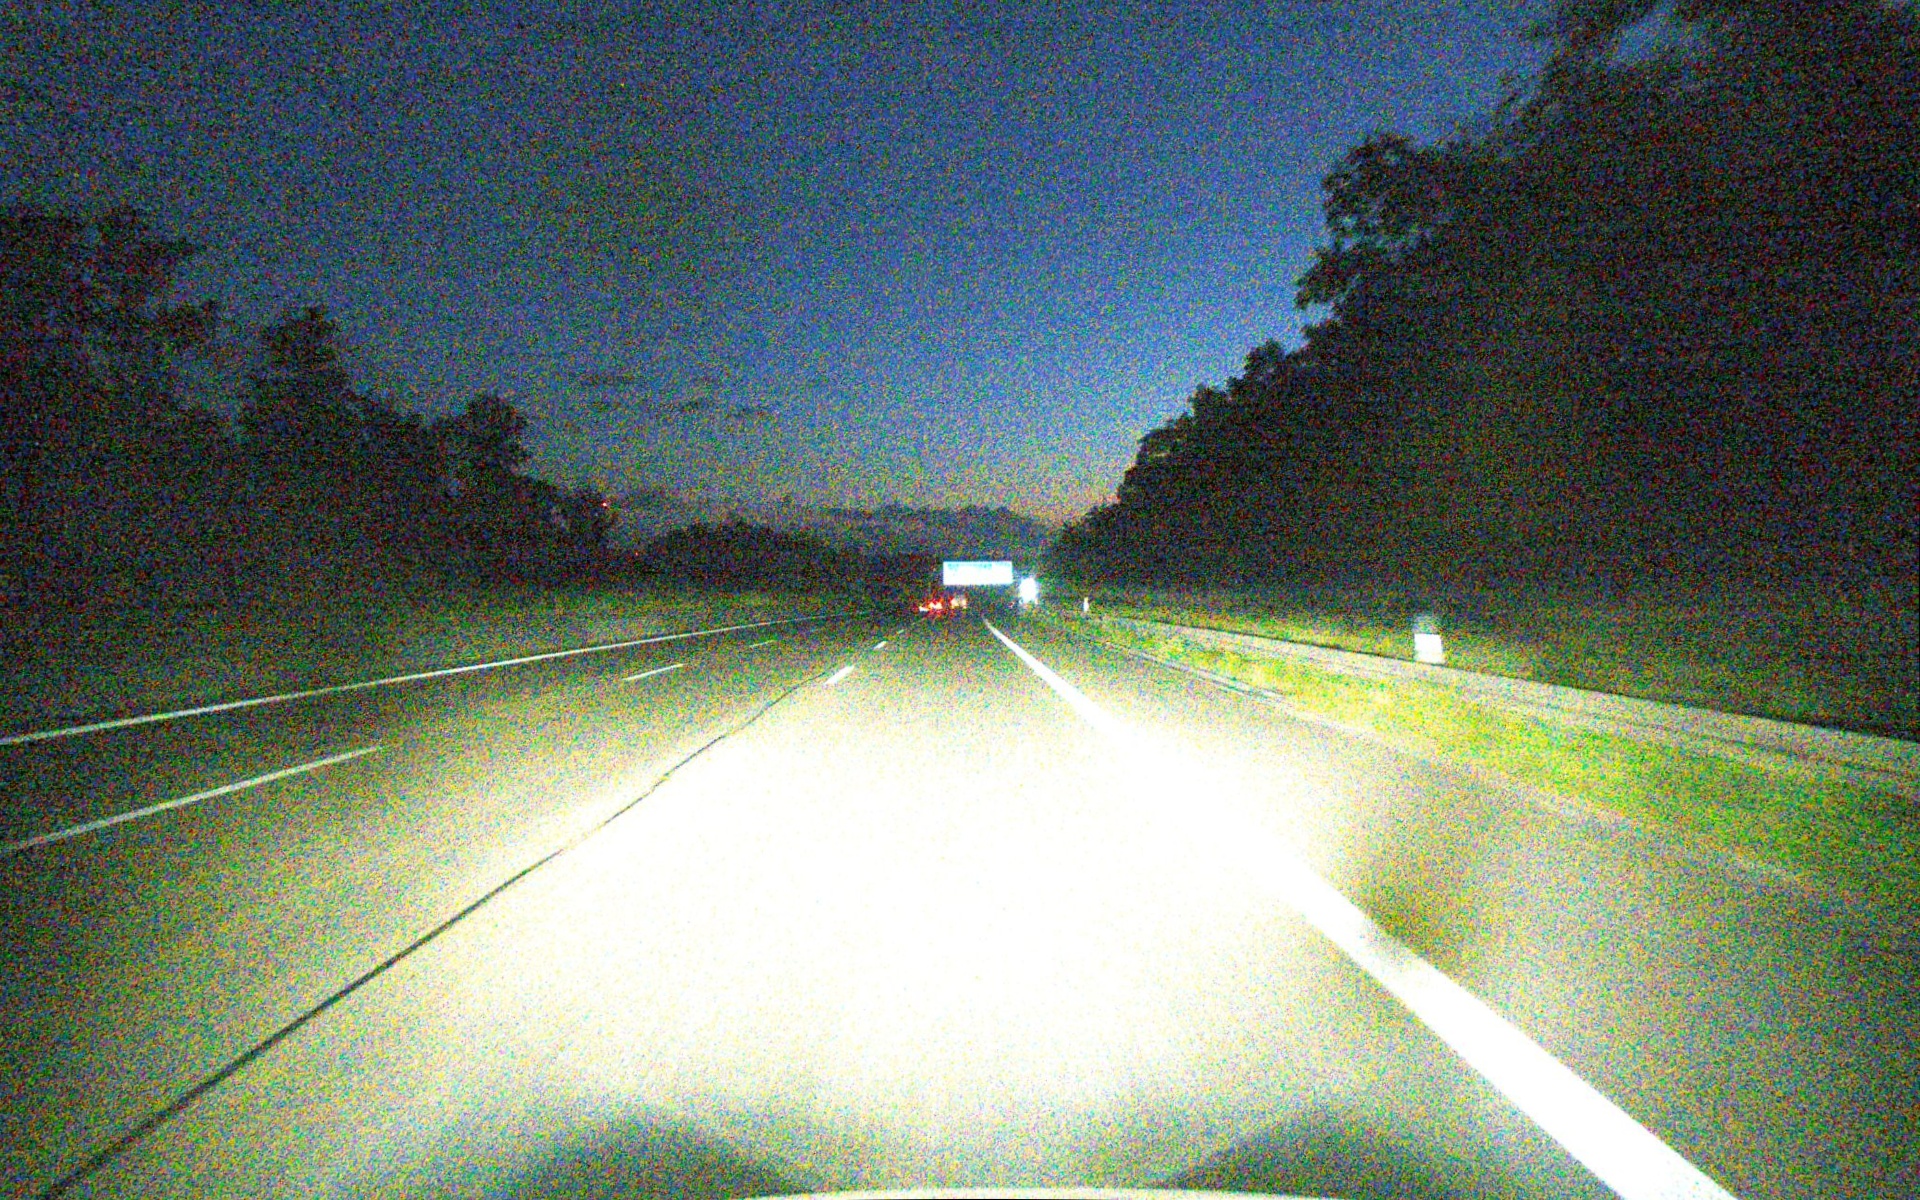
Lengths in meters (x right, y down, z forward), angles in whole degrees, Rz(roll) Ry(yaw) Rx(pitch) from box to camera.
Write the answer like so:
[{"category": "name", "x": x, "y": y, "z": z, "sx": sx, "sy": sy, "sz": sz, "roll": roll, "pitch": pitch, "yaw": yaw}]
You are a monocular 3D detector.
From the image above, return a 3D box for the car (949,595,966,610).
[{"category": "car", "x": -0.395, "y": 0.381, "z": 260.513, "sx": 2.459, "sy": 2.354, "sz": 4.970, "roll": 0, "pitch": -1, "yaw": 1}]
